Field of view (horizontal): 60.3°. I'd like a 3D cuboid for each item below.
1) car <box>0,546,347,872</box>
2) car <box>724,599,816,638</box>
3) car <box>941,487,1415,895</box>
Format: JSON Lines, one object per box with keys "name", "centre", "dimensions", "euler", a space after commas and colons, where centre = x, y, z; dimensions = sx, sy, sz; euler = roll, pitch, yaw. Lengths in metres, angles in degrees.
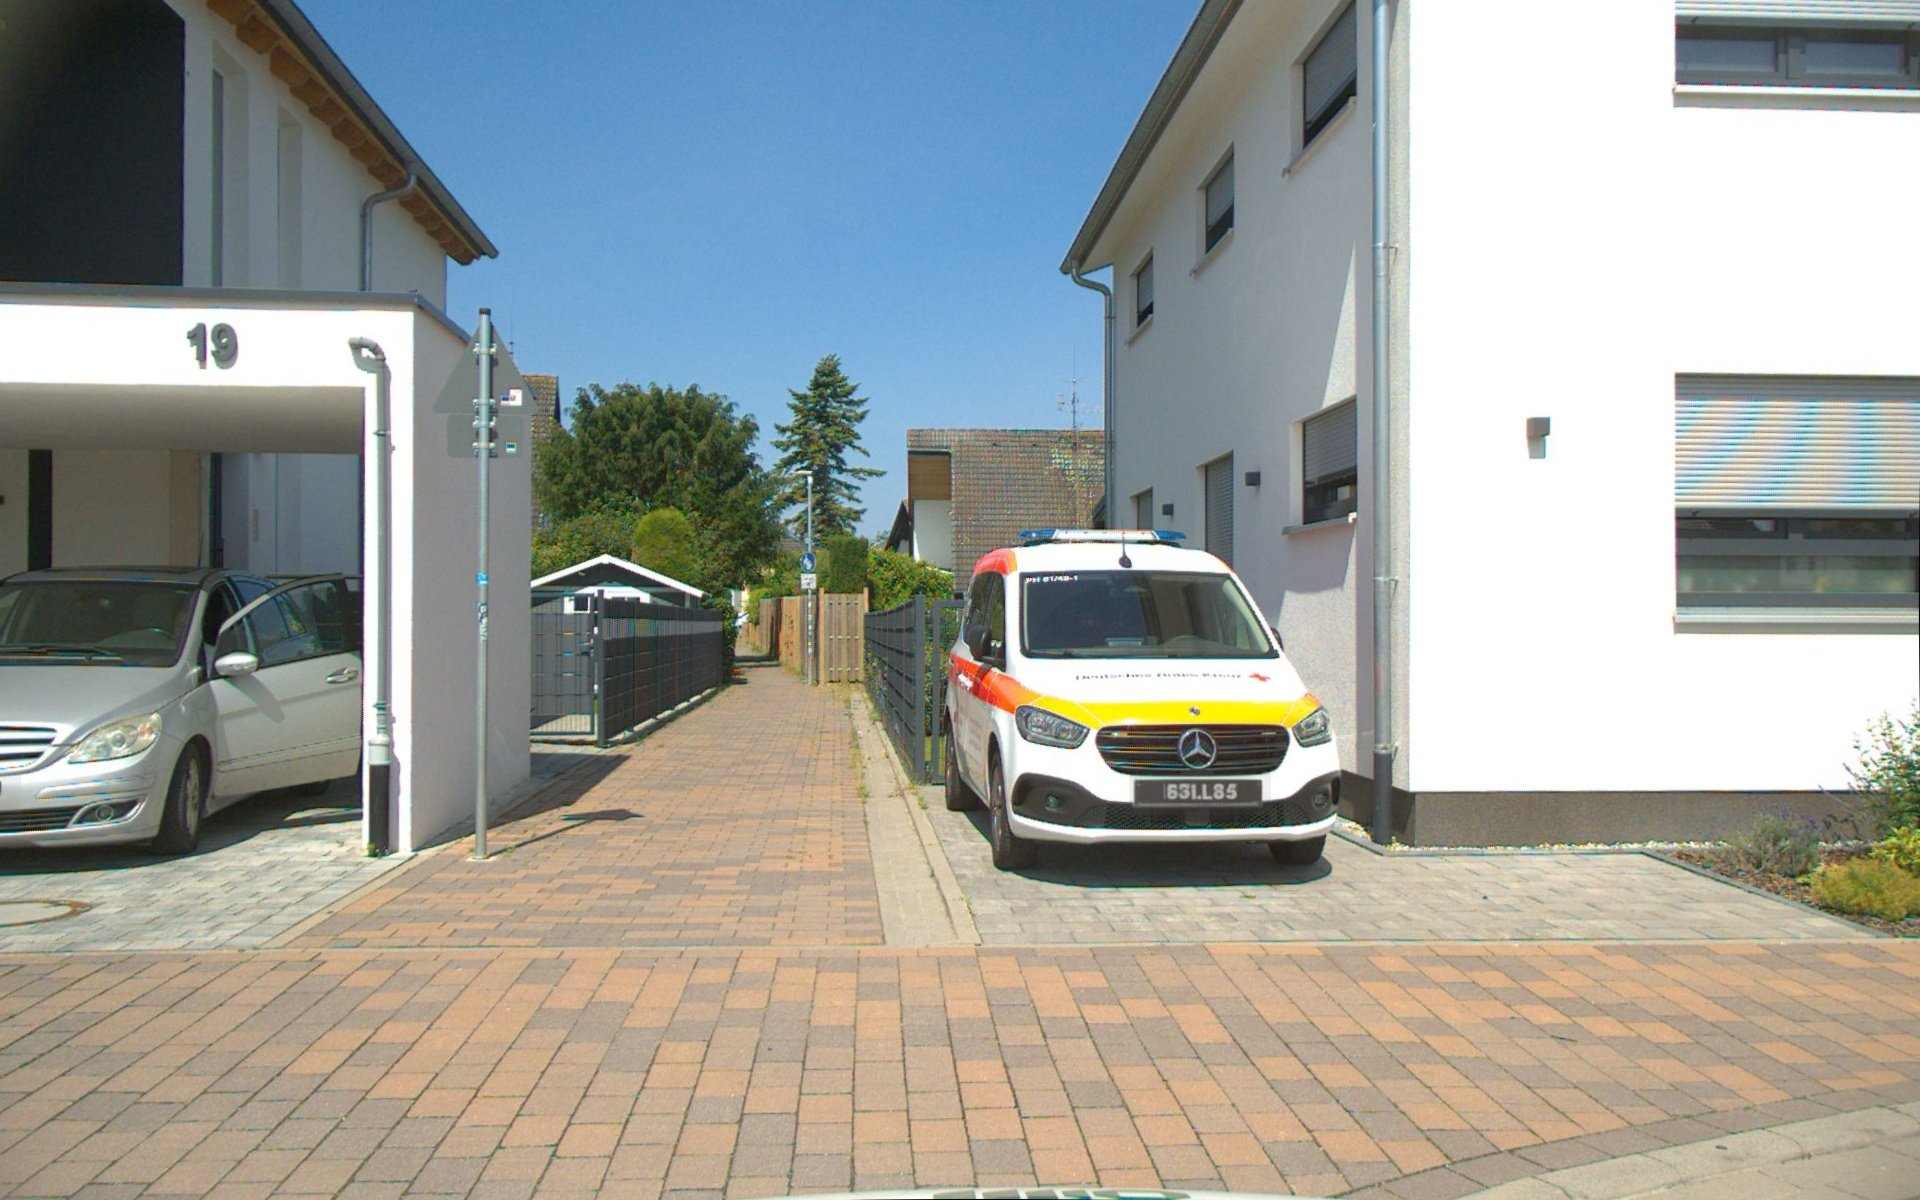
{"name": "car", "centre": [-5.108, 0.556, 10.103], "dimensions": [1.707, 1.589, 4.157], "euler": [0, -1, -8]}
{"name": "car", "centre": [-8.546, 0.815, 74.717], "dimensions": [4.066, 1.747, 1.903], "euler": [0, 0, -6]}
{"name": "car", "centre": [1.022, 0.451, 10.202], "dimensions": [1.895, 1.908, 4.746], "euler": [0, -1, -5]}
